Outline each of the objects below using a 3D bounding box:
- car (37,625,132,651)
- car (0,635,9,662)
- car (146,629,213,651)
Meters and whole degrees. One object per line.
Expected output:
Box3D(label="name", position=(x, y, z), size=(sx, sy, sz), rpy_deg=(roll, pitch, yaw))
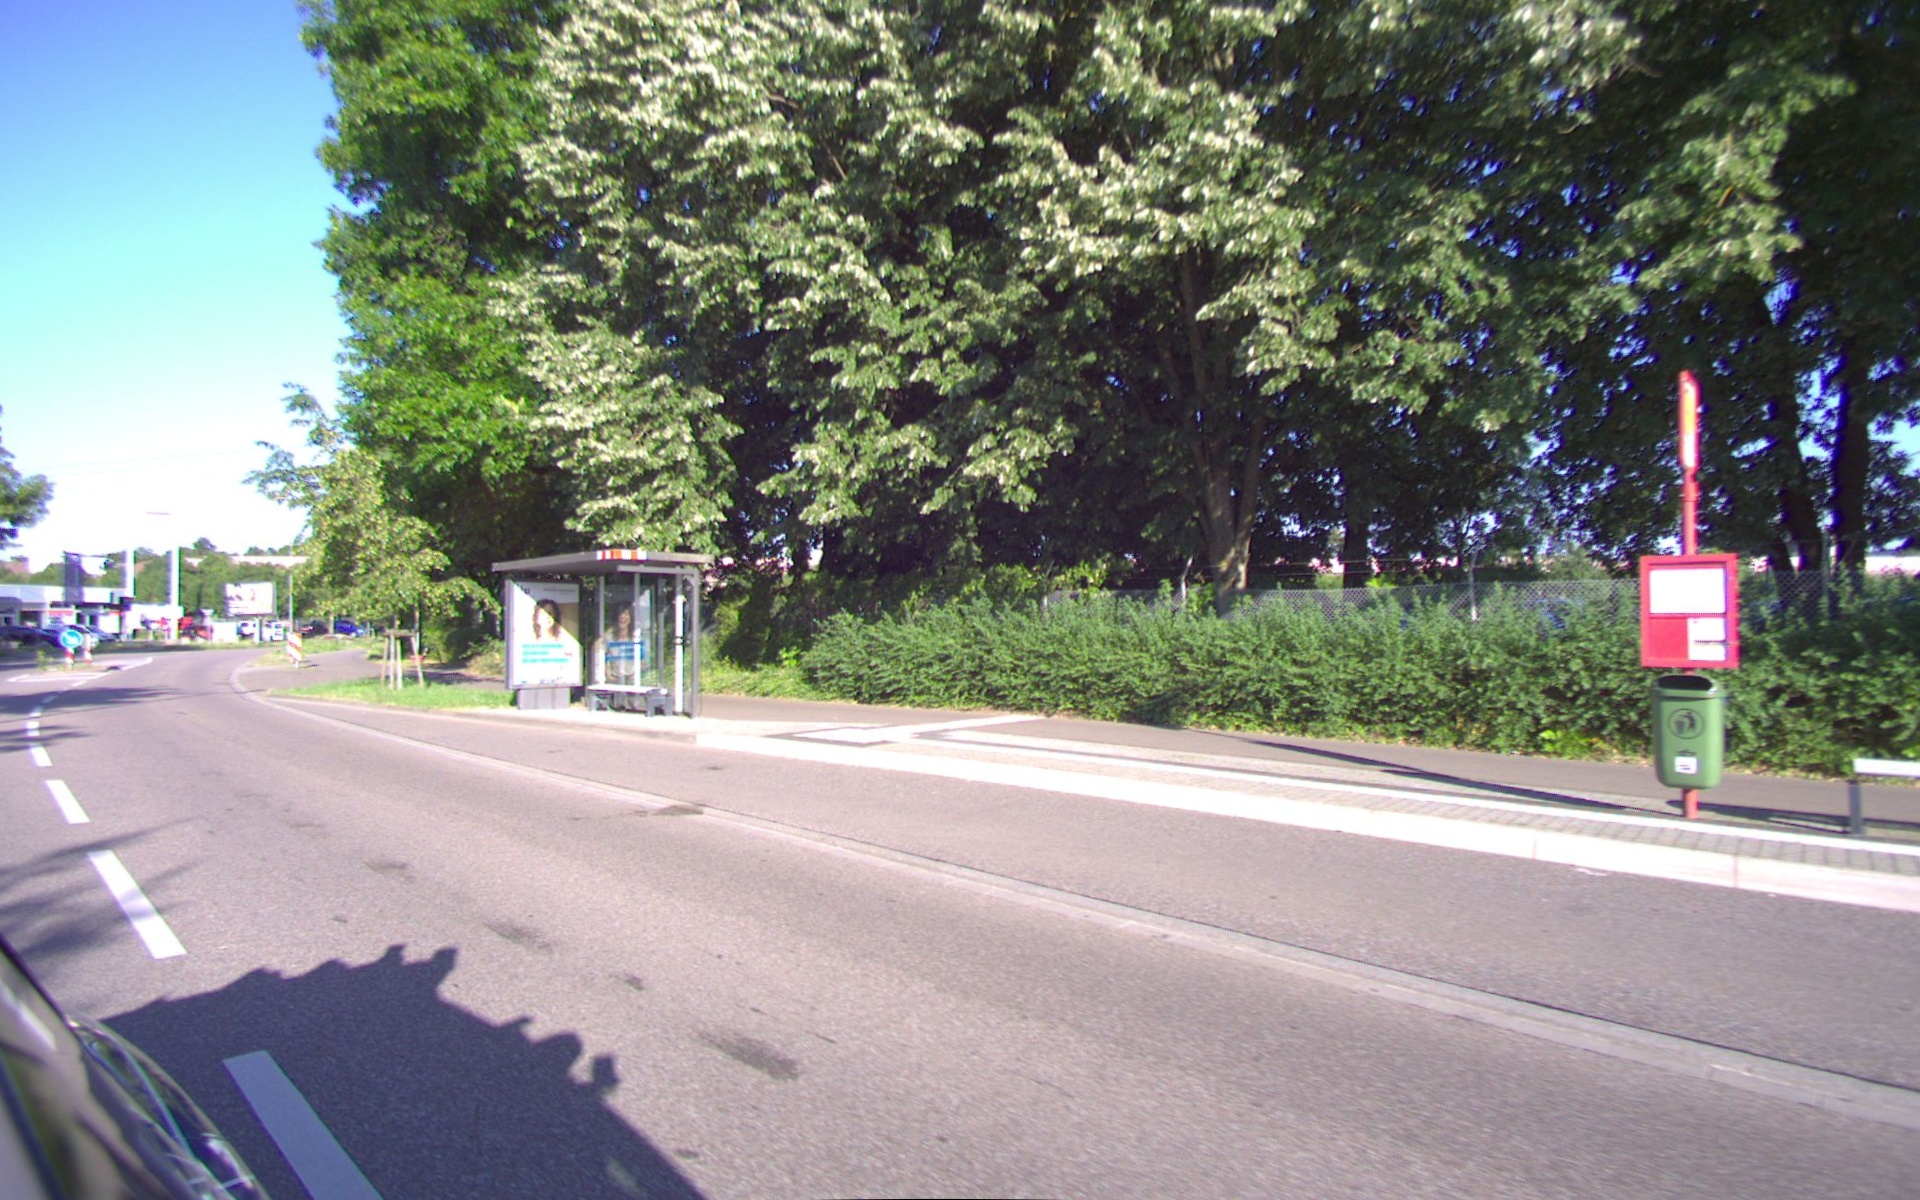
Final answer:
Box3D(label="car", position=(-69.948, 3.047, 80.929), size=(5.205, 2.029, 2.410), rpy_deg=(0, -2, -9))
Box3D(label="car", position=(-76.121, 3.730, 77.154), size=(4.769, 2.029, 2.304), rpy_deg=(0, -2, -9))
Box3D(label="car", position=(-73.633, 3.808, 95.523), size=(4.788, 2.029, 2.295), rpy_deg=(-1, -2, 7))
